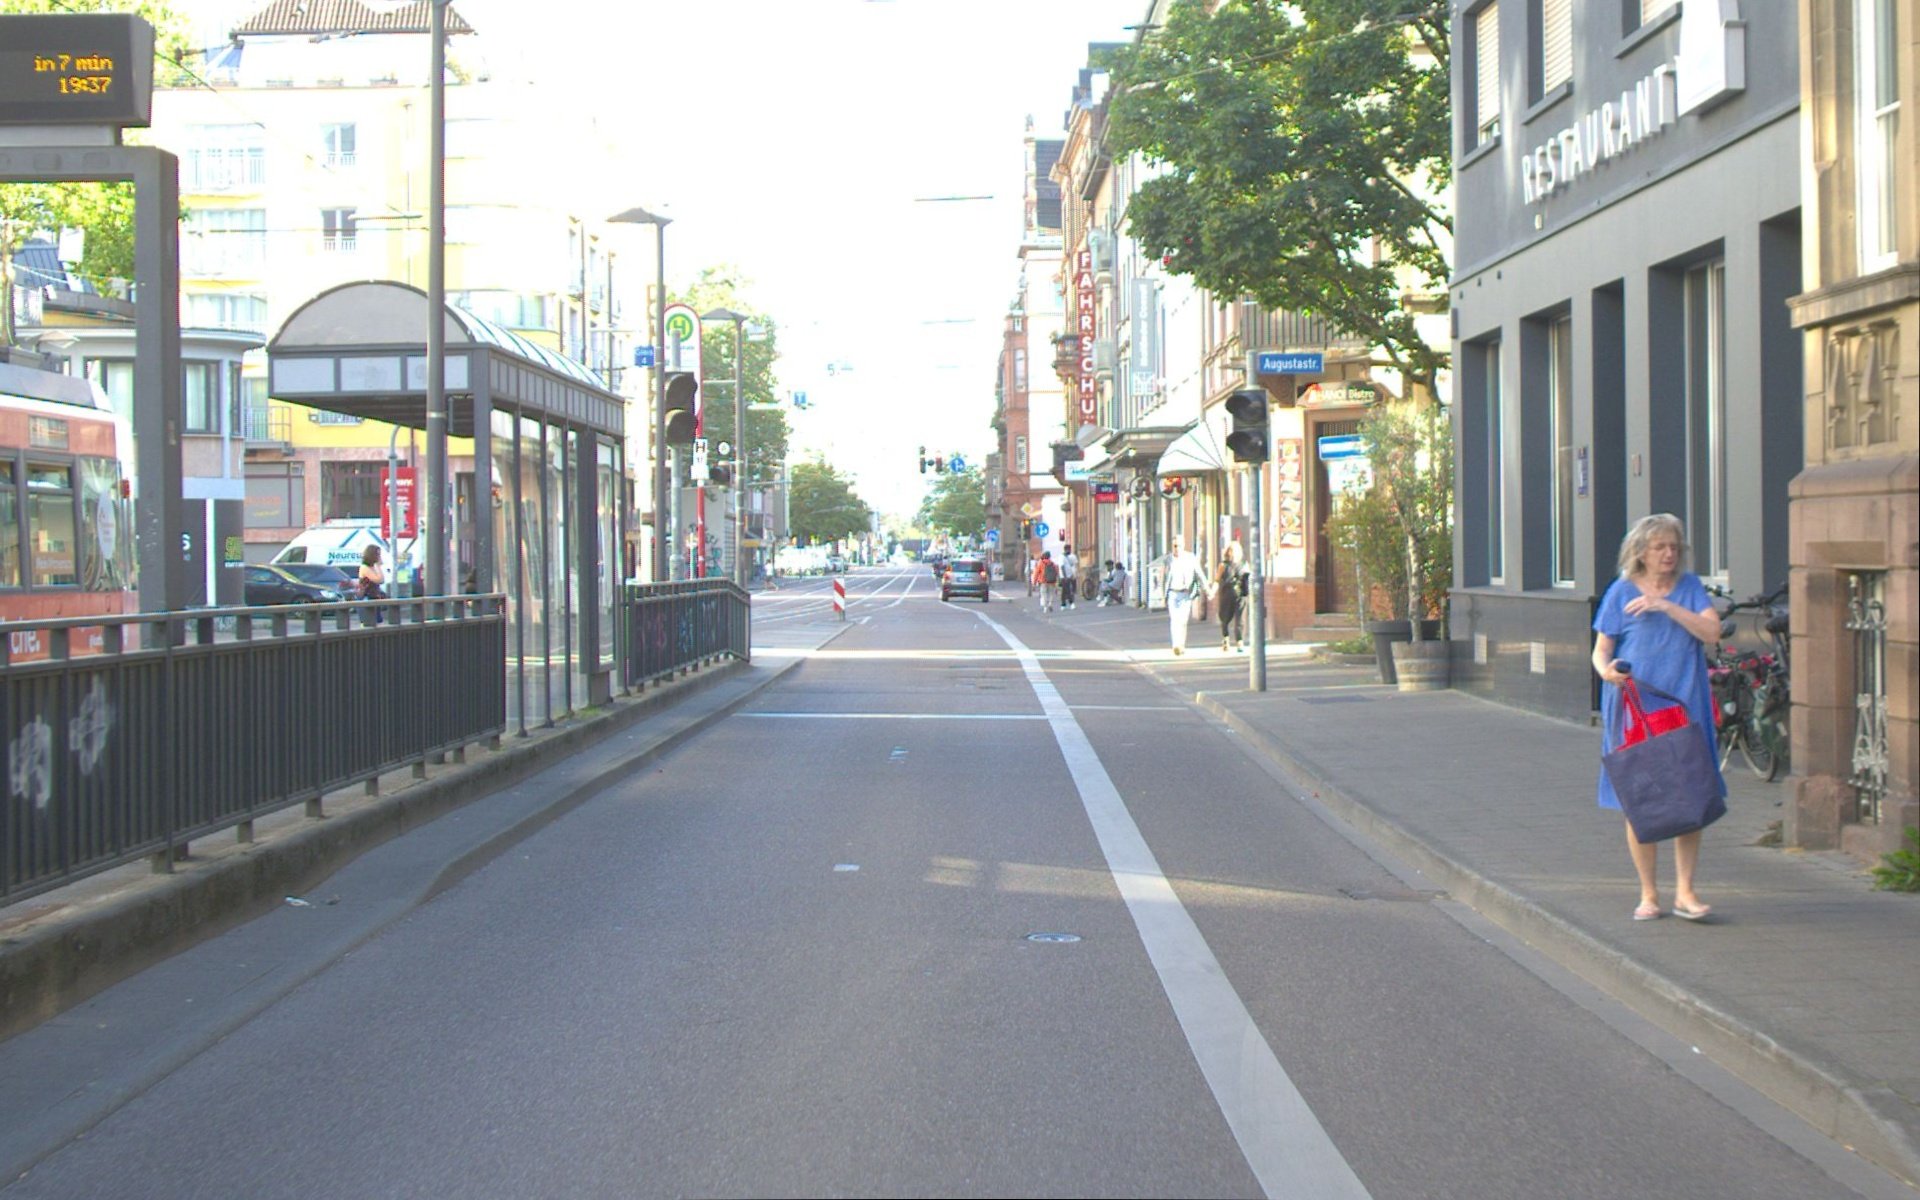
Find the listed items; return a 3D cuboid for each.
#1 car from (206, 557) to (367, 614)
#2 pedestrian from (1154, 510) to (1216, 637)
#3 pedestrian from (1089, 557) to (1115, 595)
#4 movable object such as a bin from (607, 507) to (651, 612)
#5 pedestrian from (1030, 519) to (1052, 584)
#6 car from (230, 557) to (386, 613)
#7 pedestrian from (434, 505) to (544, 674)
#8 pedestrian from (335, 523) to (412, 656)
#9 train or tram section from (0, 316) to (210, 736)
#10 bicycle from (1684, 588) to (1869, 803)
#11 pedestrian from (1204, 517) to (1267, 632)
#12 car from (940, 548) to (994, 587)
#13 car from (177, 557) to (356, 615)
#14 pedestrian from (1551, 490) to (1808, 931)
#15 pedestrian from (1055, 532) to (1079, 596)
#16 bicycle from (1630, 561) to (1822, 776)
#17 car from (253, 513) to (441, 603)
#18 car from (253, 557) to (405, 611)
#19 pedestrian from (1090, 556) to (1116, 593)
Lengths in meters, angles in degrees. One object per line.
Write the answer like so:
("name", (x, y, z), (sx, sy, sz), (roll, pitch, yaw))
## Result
("car", (-18.232, -0.407, 93.111), (3.987, 1.505, 1.800), (0, 1, 1))
("pedestrian", (3.217, -0.383, 49.201), (0.713, 1.768, 0.773), (-3, 1, -3))
("pedestrian", (3.927, -0.676, 95.246), (0.690, 1.040, 0.680), (0, 0, 4))
("movable object such as a bin", (-2.999, -0.365, 31.170), (0.352, 0.941, 0.530), (-1, 0, -1))
("pedestrian", (2.247, -1.332, 95.332), (0.560, 1.790, 0.650), (0, 0, 7))
("car", (-18.139, -0.428, 95.692), (3.987, 1.505, 1.800), (0, 1, 1))
("pedestrian", (-3.317, -0.078, 24.229), (0.685, 1.172, 0.537), (-1, 0, 1))
("pedestrian", (-7.726, -0.151, 45.308), (0.869, 1.708, 0.788), (2, 2, -3))
("train or tram section", (-9.396, -0.562, 28.071), (2.885, 3.478, 14.951), (-2, 1, 1))
("bicycle", (4.460, 0.496, 18.888), (0.591, 1.067, 1.804), (-3, 1, 2))
("pedestrian", (3.955, -0.372, 49.365), (0.713, 1.597, 0.773), (-3, 1, -3))
("car", (0.252, -1.253, 131.146), (1.993, 1.444, 4.000), (0, 1, 0))
("car", (-18.234, -0.374, 90.482), (4.320, 1.505, 1.800), (0, 1, 1))
("pedestrian", (2.789, 0.410, 13.399), (0.762, 1.640, 0.832), (-2, 1, -1))
("pedestrian", (2.999, -1.009, 96.060), (0.648, 1.790, 0.561), (0, 0, 4))
("bicycle", (4.609, 0.385, 20.804), (0.623, 1.194, 1.908), (-3, 1, -2))
("car", (-17.957, -1.235, 100.796), (5.106, 2.567, 2.128), (0, 0, 1))
("car", (-18.016, -0.449, 98.223), (3.987, 1.505, 1.800), (0, 1, 1))
("pedestrian", (3.995, -0.714, 96.038), (0.690, 1.040, 0.680), (0, 0, 4))
